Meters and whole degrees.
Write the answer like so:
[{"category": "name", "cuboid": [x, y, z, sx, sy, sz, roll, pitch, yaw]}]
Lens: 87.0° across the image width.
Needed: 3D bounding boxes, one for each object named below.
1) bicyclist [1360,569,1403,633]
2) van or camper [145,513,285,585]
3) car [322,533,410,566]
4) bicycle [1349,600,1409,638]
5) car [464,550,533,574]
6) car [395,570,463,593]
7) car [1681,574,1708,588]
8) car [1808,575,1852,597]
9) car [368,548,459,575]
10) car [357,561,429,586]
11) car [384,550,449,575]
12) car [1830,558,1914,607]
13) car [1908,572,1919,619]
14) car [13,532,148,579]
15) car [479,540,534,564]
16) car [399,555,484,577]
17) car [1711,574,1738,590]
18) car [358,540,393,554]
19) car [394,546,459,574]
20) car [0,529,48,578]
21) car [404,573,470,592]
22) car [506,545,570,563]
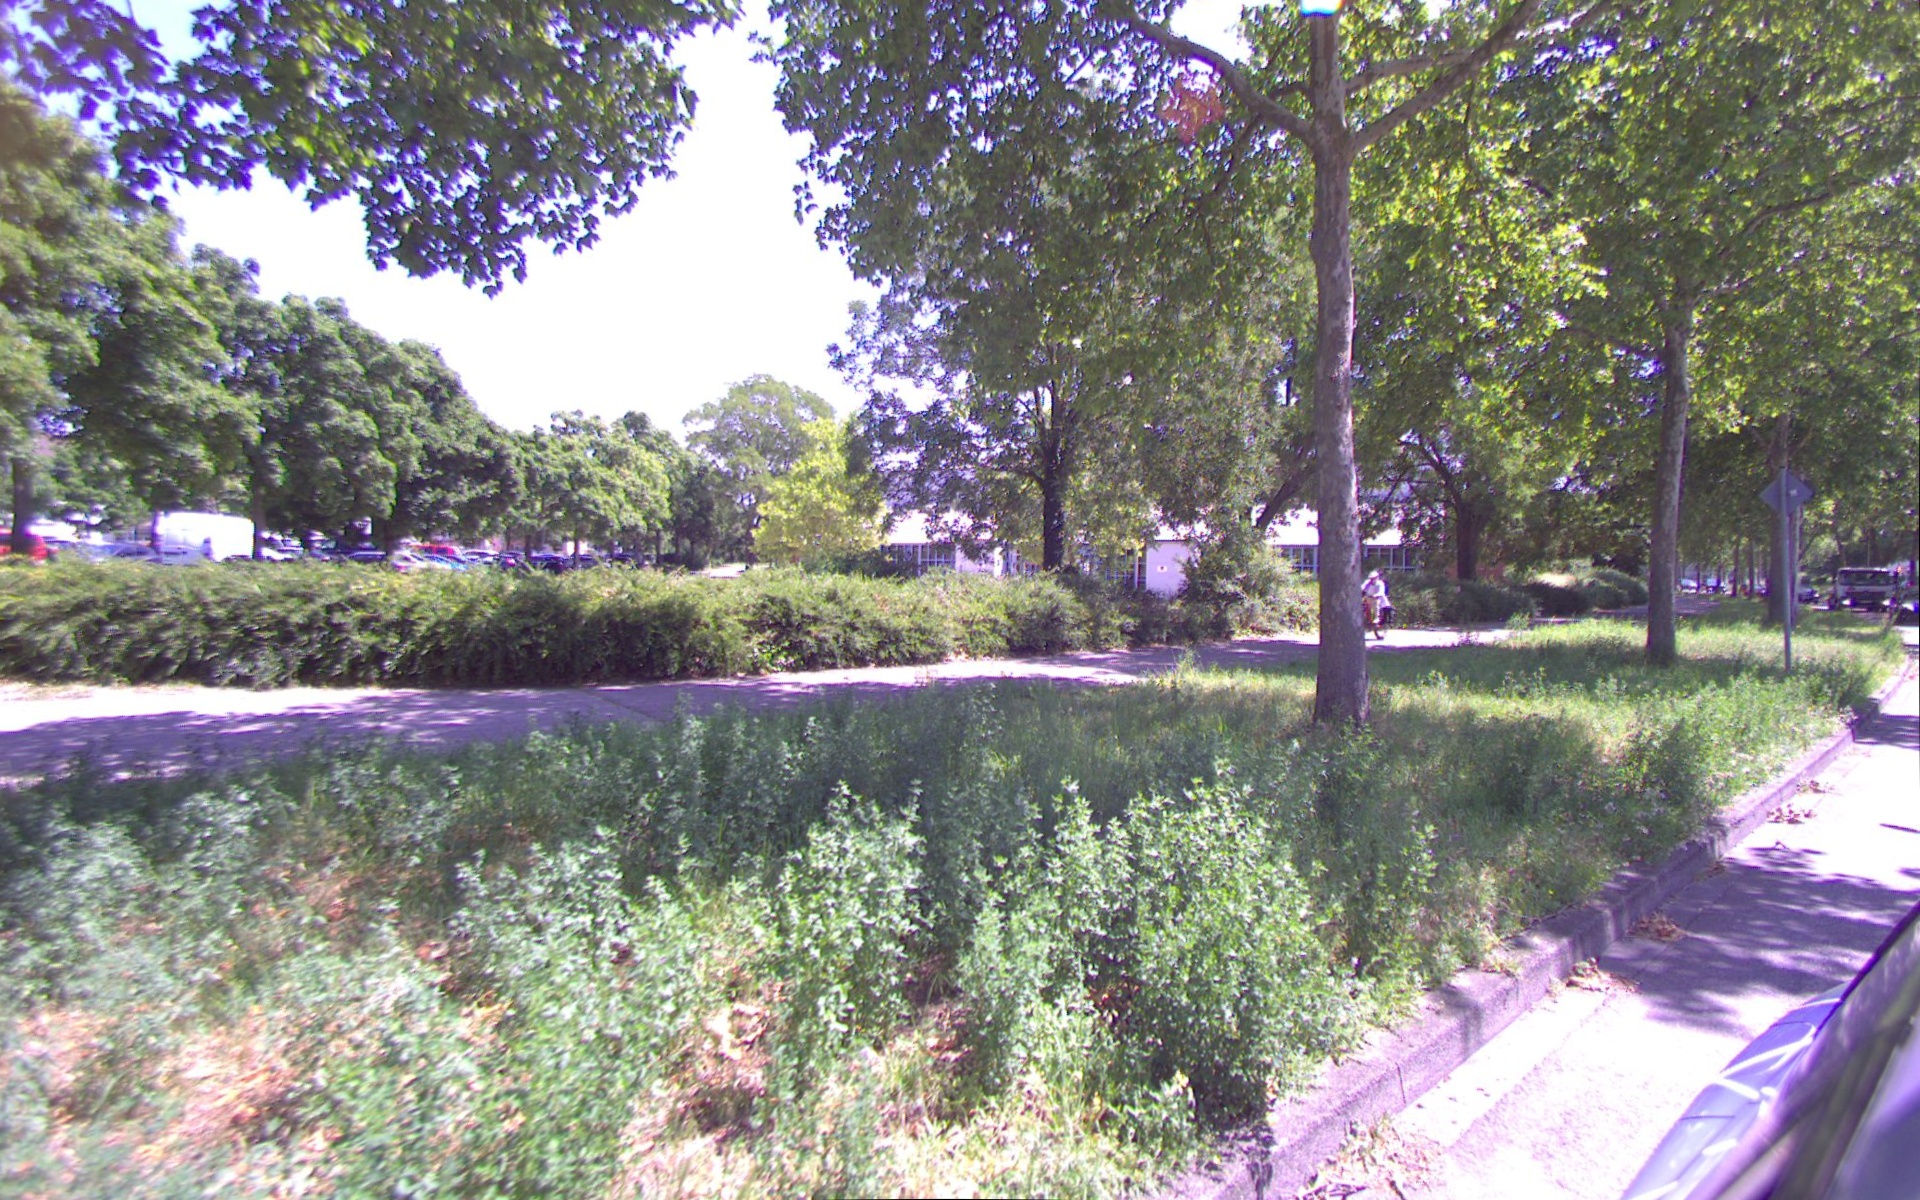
[{"category": "bicyclist", "cuboid": [9.110, 0.007, 21.868, 0.654, 1.355, 0.600, 0, 2, -39]}, {"category": "van or camper", "cuboid": [-30.719, -2.076, 41.963, 2.160, 2.785, 5.134, 1, 2, -2]}, {"category": "car", "cuboid": [-37.776, -3.191, 64.490, 4.333, 2.038, 2.250, 1, 2, -7]}, {"category": "bicycle", "cuboid": [9.040, 0.399, 21.823, 1.638, 0.773, 0.465, 0, 2, -40]}, {"category": "car", "cuboid": [-27.195, -2.232, 59.706, 3.356, 1.382, 1.721, 1, 2, -10]}, {"category": "car", "cuboid": [-23.975, -0.855, 45.754, 2.546, 0.999, 0.955, 1, 1, -10]}, {"category": "car", "cuboid": [96.819, -2.526, 133.463, 1.977, 1.860, 3.970, 2, 2, 23]}, {"category": "car", "cuboid": [66.643, -1.098, 77.552, 1.986, 1.638, 3.953, 2, 2, 33]}, {"category": "car", "cuboid": [-25.966, -1.837, 48.160, 3.500, 1.240, 1.623, 0, 2, -10]}, {"category": "car", "cuboid": [-24.546, -1.151, 43.856, 2.546, 1.049, 0.955, 1, 1, -10]}, {"category": "car", "cuboid": [-25.953, -1.770, 48.366, 2.546, 1.141, 1.009, 1, 1, -10]}, {"category": "car", "cuboid": [53.561, -1.091, 59.620, 2.902, 2.687, 6.285, 2, 2, 36]}, {"category": "car", "cuboid": [38.834, -0.179, 39.860, 3.935, 1.816, 1.995, -1, 2, -45]}, {"category": "car", "cuboid": [-34.494, -1.735, 39.864, 1.918, 1.739, 4.075, 1, 2, -3]}, {"category": "car", "cuboid": [-64.067, -6.736, 142.993, 7.057, 3.221, 3.196, 0, 2, -26]}, {"category": "car", "cuboid": [-26.020, -1.712, 50.868, 3.493, 1.047, 1.685, 0, 2, -10]}, {"category": "car", "cuboid": [91.892, -2.212, 121.710, 1.983, 1.860, 3.959, 2, 2, 29]}, {"category": "car", "cuboid": [-71.017, -6.473, 122.994, 1.432, 1.638, 3.329, 2, 2, 33]}, {"category": "car", "cuboid": [-40.300, -3.046, 76.582, 3.918, 2.038, 1.970, 1, 2, -8]}, {"category": "car", "cuboid": [-40.299, -1.924, 41.388, 2.033, 2.027, 4.668, 1, 2, -4]}, {"category": "car", "cuboid": [-24.222, -0.823, 46.924, 2.546, 0.852, 0.955, 1, 2, -10]}, {"category": "car", "cuboid": [-64.800, -7.060, 155.615, 8.650, 2.620, 3.053, 1, 2, -7]}]
